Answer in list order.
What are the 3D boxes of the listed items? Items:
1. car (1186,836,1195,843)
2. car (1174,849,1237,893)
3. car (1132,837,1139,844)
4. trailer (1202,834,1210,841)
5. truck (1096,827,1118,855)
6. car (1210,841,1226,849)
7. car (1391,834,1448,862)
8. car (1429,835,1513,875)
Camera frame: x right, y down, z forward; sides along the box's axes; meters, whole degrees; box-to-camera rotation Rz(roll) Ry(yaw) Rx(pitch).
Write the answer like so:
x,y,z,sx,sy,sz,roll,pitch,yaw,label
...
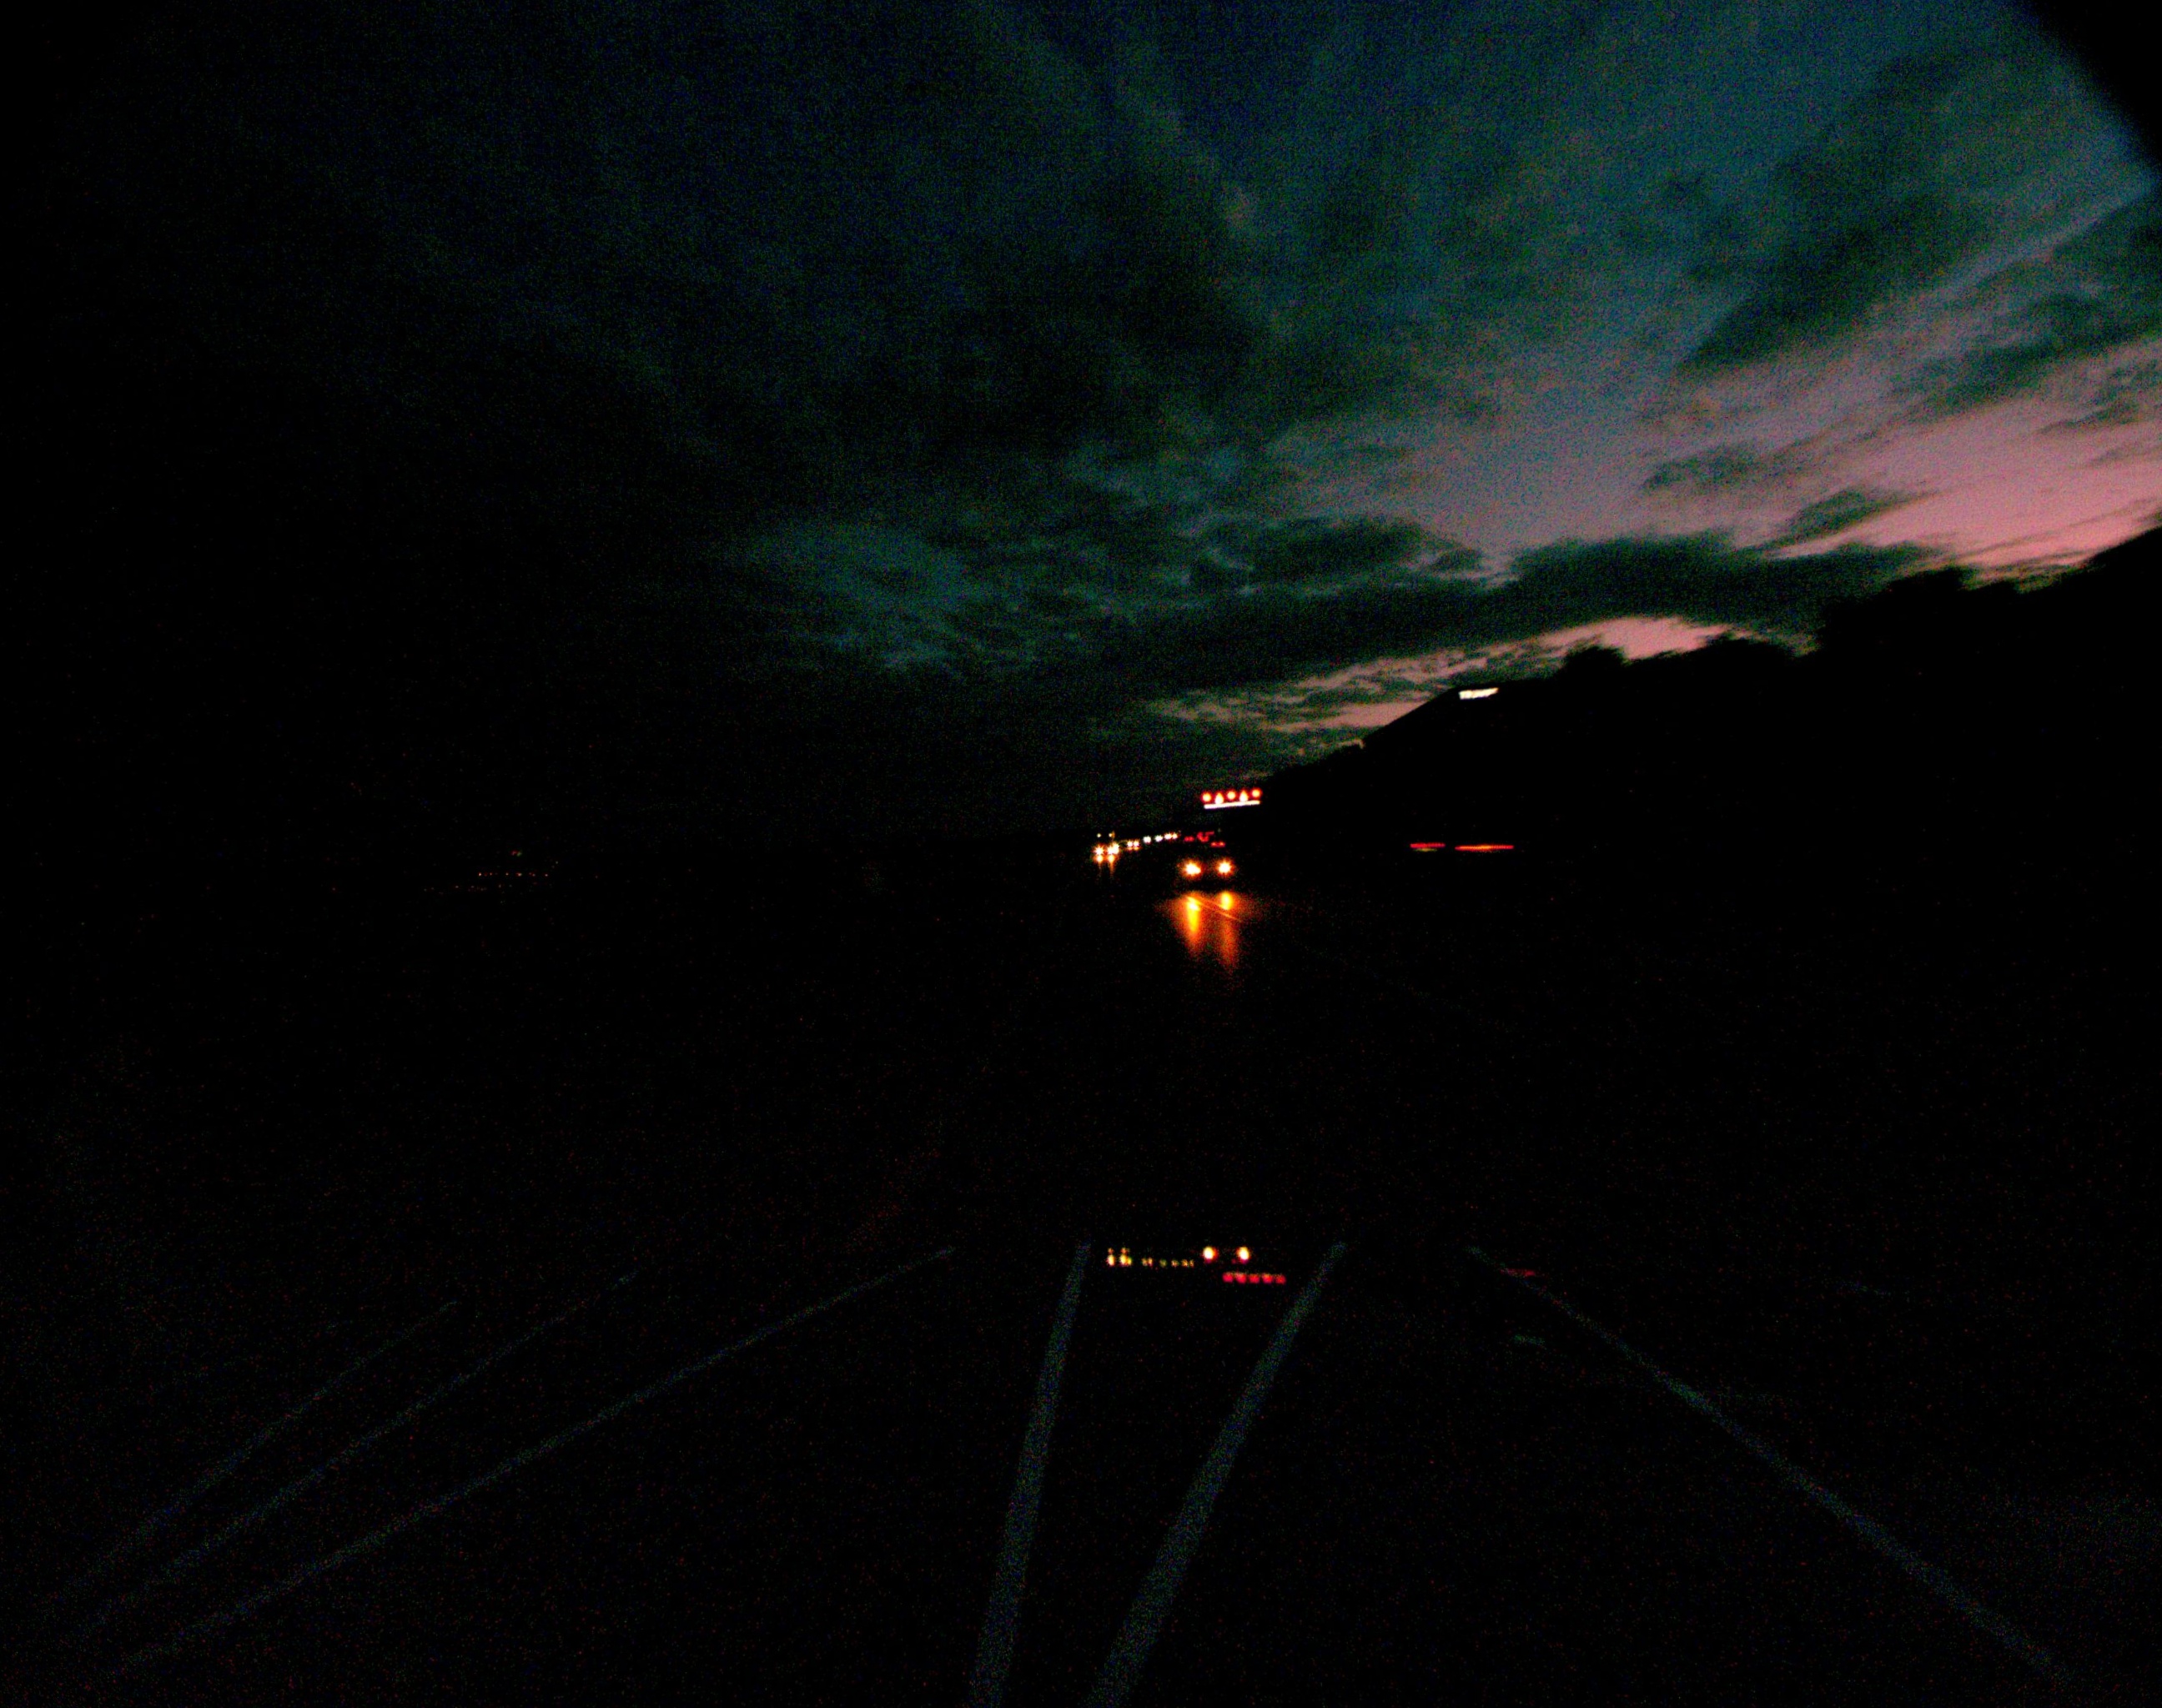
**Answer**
x,y,z,sx,sy,sz,roll,pitch,yaw,label
32.684,-4.354,227.644,1.917,1.857,6.014,-3,2,2,car
4.911,0.641,30.460,1.717,1.471,3.998,-3,2,-1,car
13.984,-3.522,194.155,1.653,1.655,3.774,-3,2,2,car
38.953,-5.078,236.961,1.917,1.991,4.241,-4,1,4,trailer
4.463,-2.296,128.760,3.026,4.373,11.615,-3,2,4,truck
24.503,-1.674,136.109,2.064,1.219,5.233,-3,2,1,car
25.603,-0.522,57.619,1.998,1.883,5.056,-3,2,0,car
21.045,-0.008,41.249,1.880,1.883,5.056,-3,2,0,car
